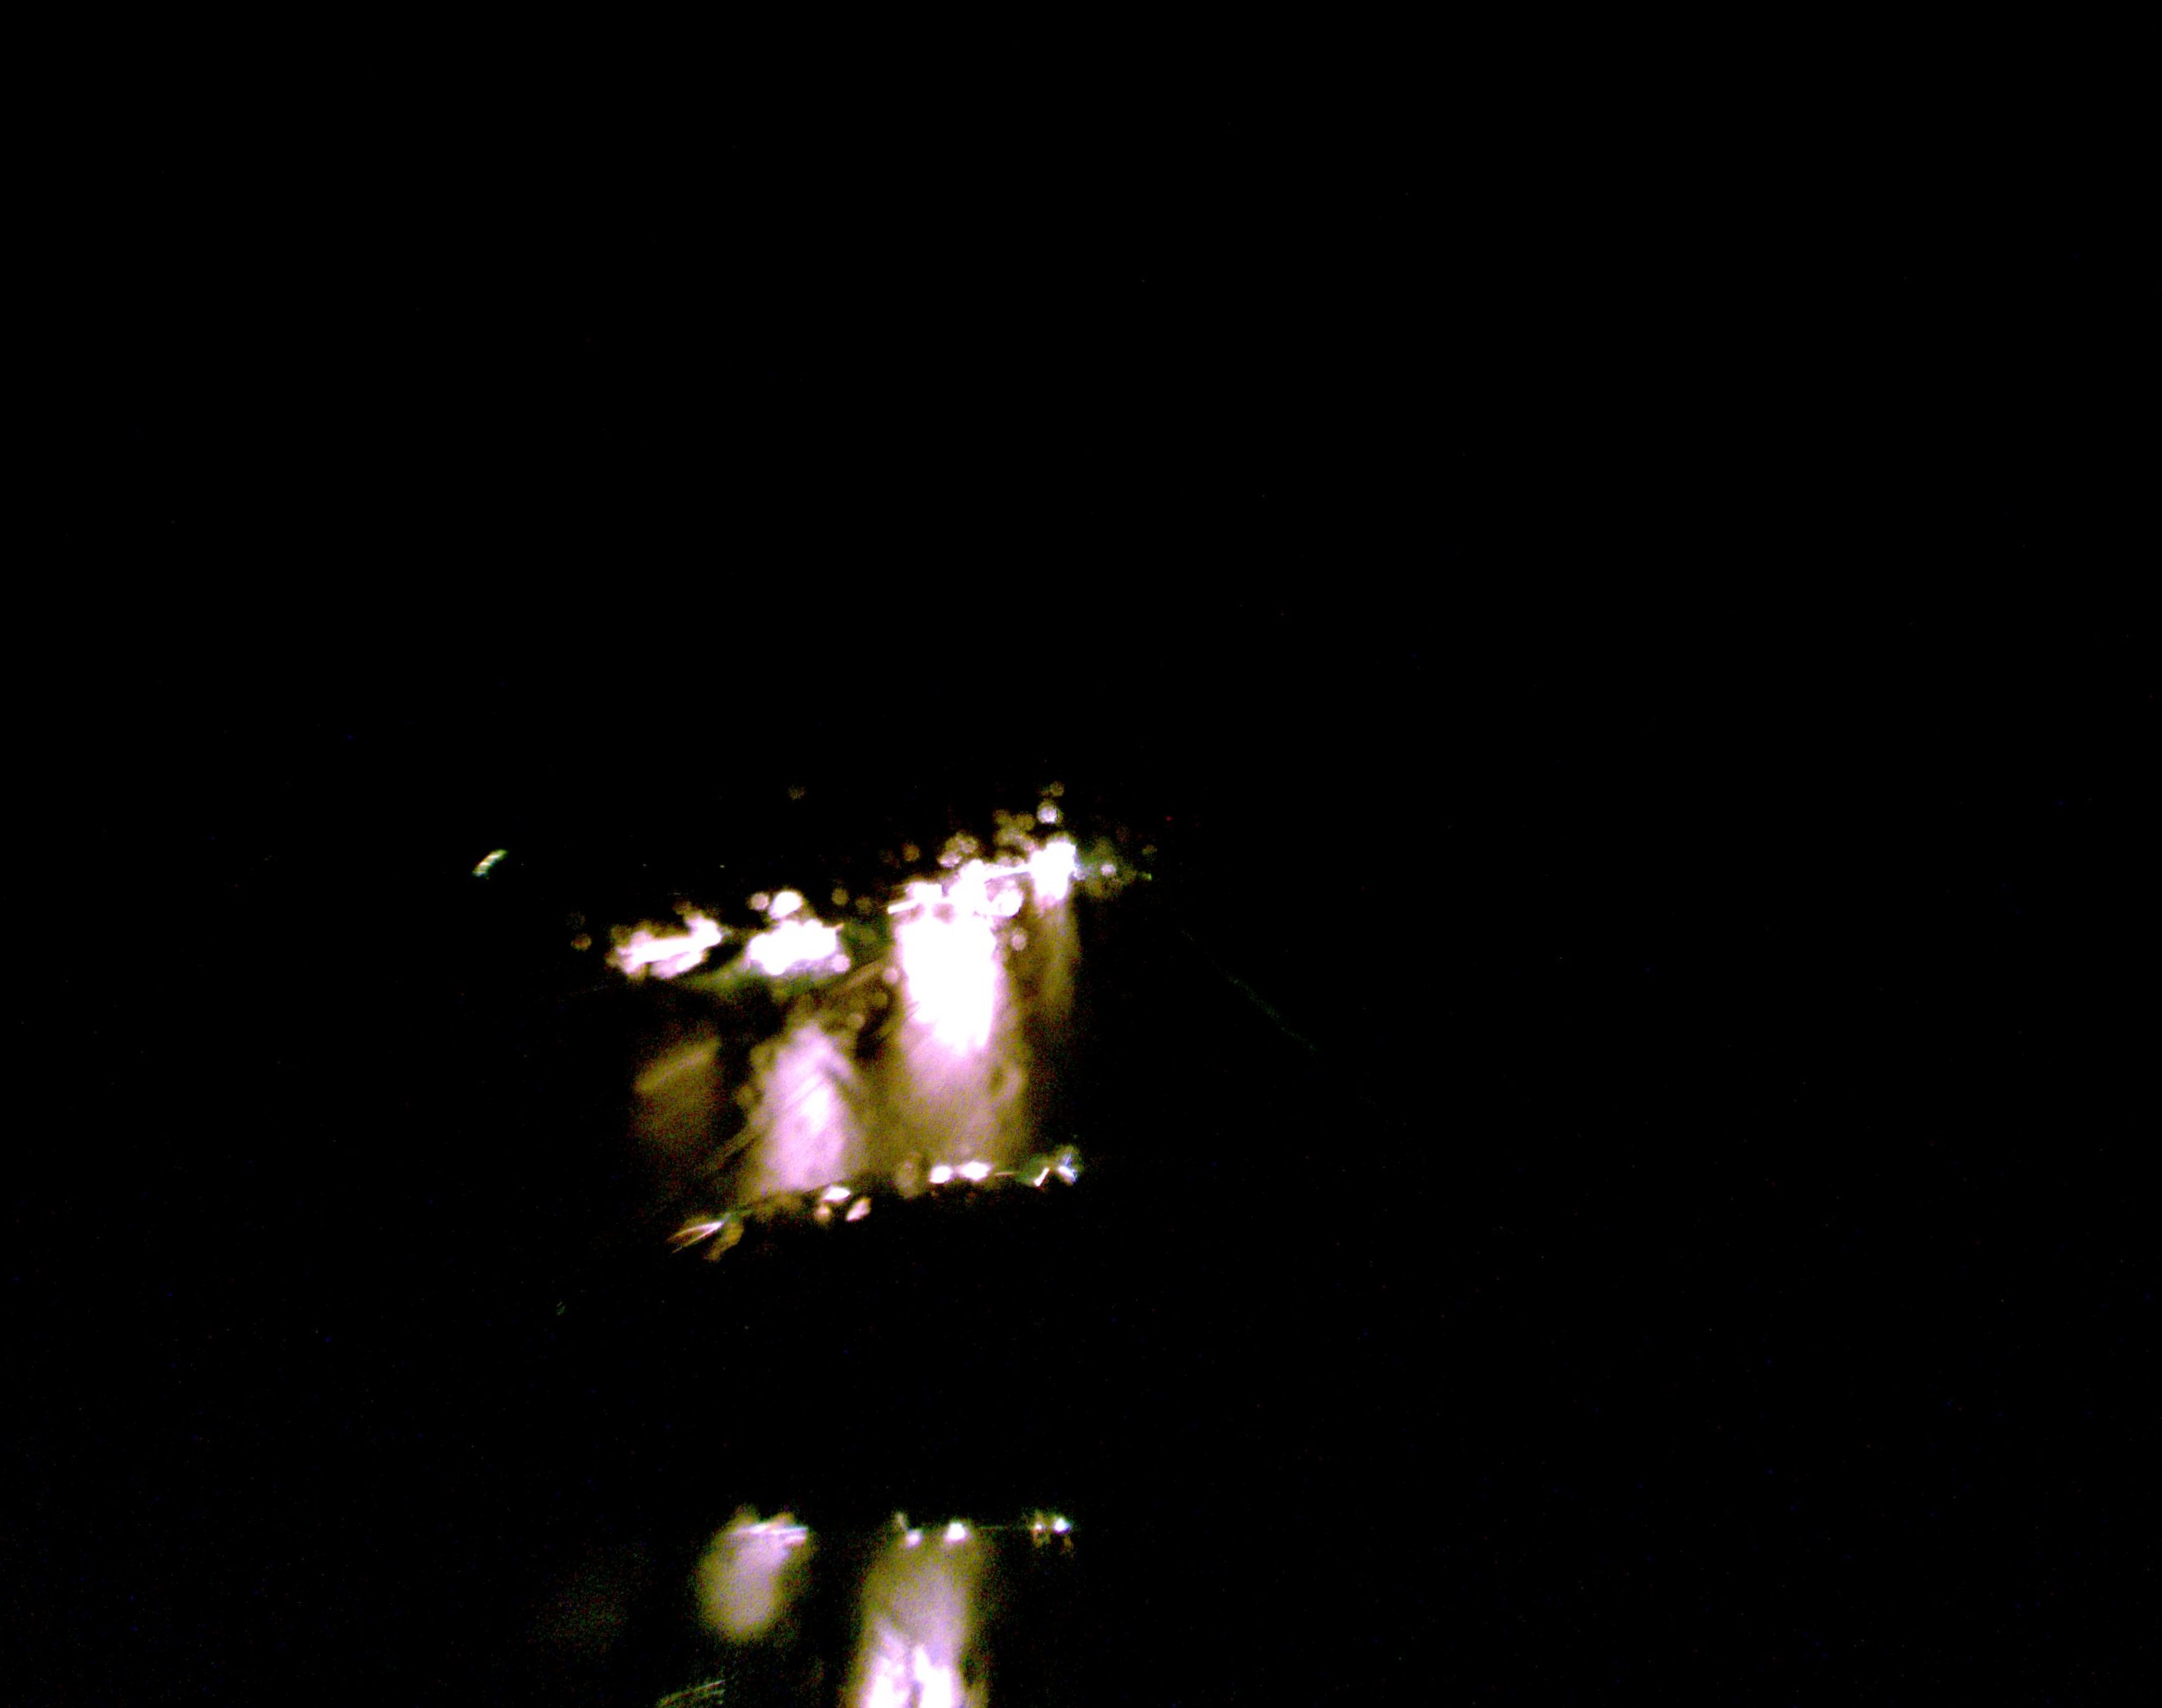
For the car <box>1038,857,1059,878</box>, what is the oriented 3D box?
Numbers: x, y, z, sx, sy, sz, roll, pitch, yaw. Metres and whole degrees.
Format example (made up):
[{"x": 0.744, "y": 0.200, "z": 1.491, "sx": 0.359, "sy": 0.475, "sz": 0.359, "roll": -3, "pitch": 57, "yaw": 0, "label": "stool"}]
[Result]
[{"x": -2.715, "y": 1.134, "z": 68.678, "sx": 1.478, "sy": 1.616, "sz": 3.561, "roll": 2, "pitch": 0, "yaw": 1, "label": "car"}]

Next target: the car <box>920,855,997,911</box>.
[{"x": -3.568, "y": 0.793, "z": 24.286, "sx": 1.687, "sy": 1.520, "sz": 3.862, "roll": -1, "pitch": 0, "yaw": 0, "label": "car"}]

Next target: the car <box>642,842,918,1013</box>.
[{"x": -3.438, "y": 0.736, "z": 10.325, "sx": 1.647, "sy": 1.682, "sz": 4.523, "roll": -1, "pitch": 0, "yaw": 2, "label": "car"}]
